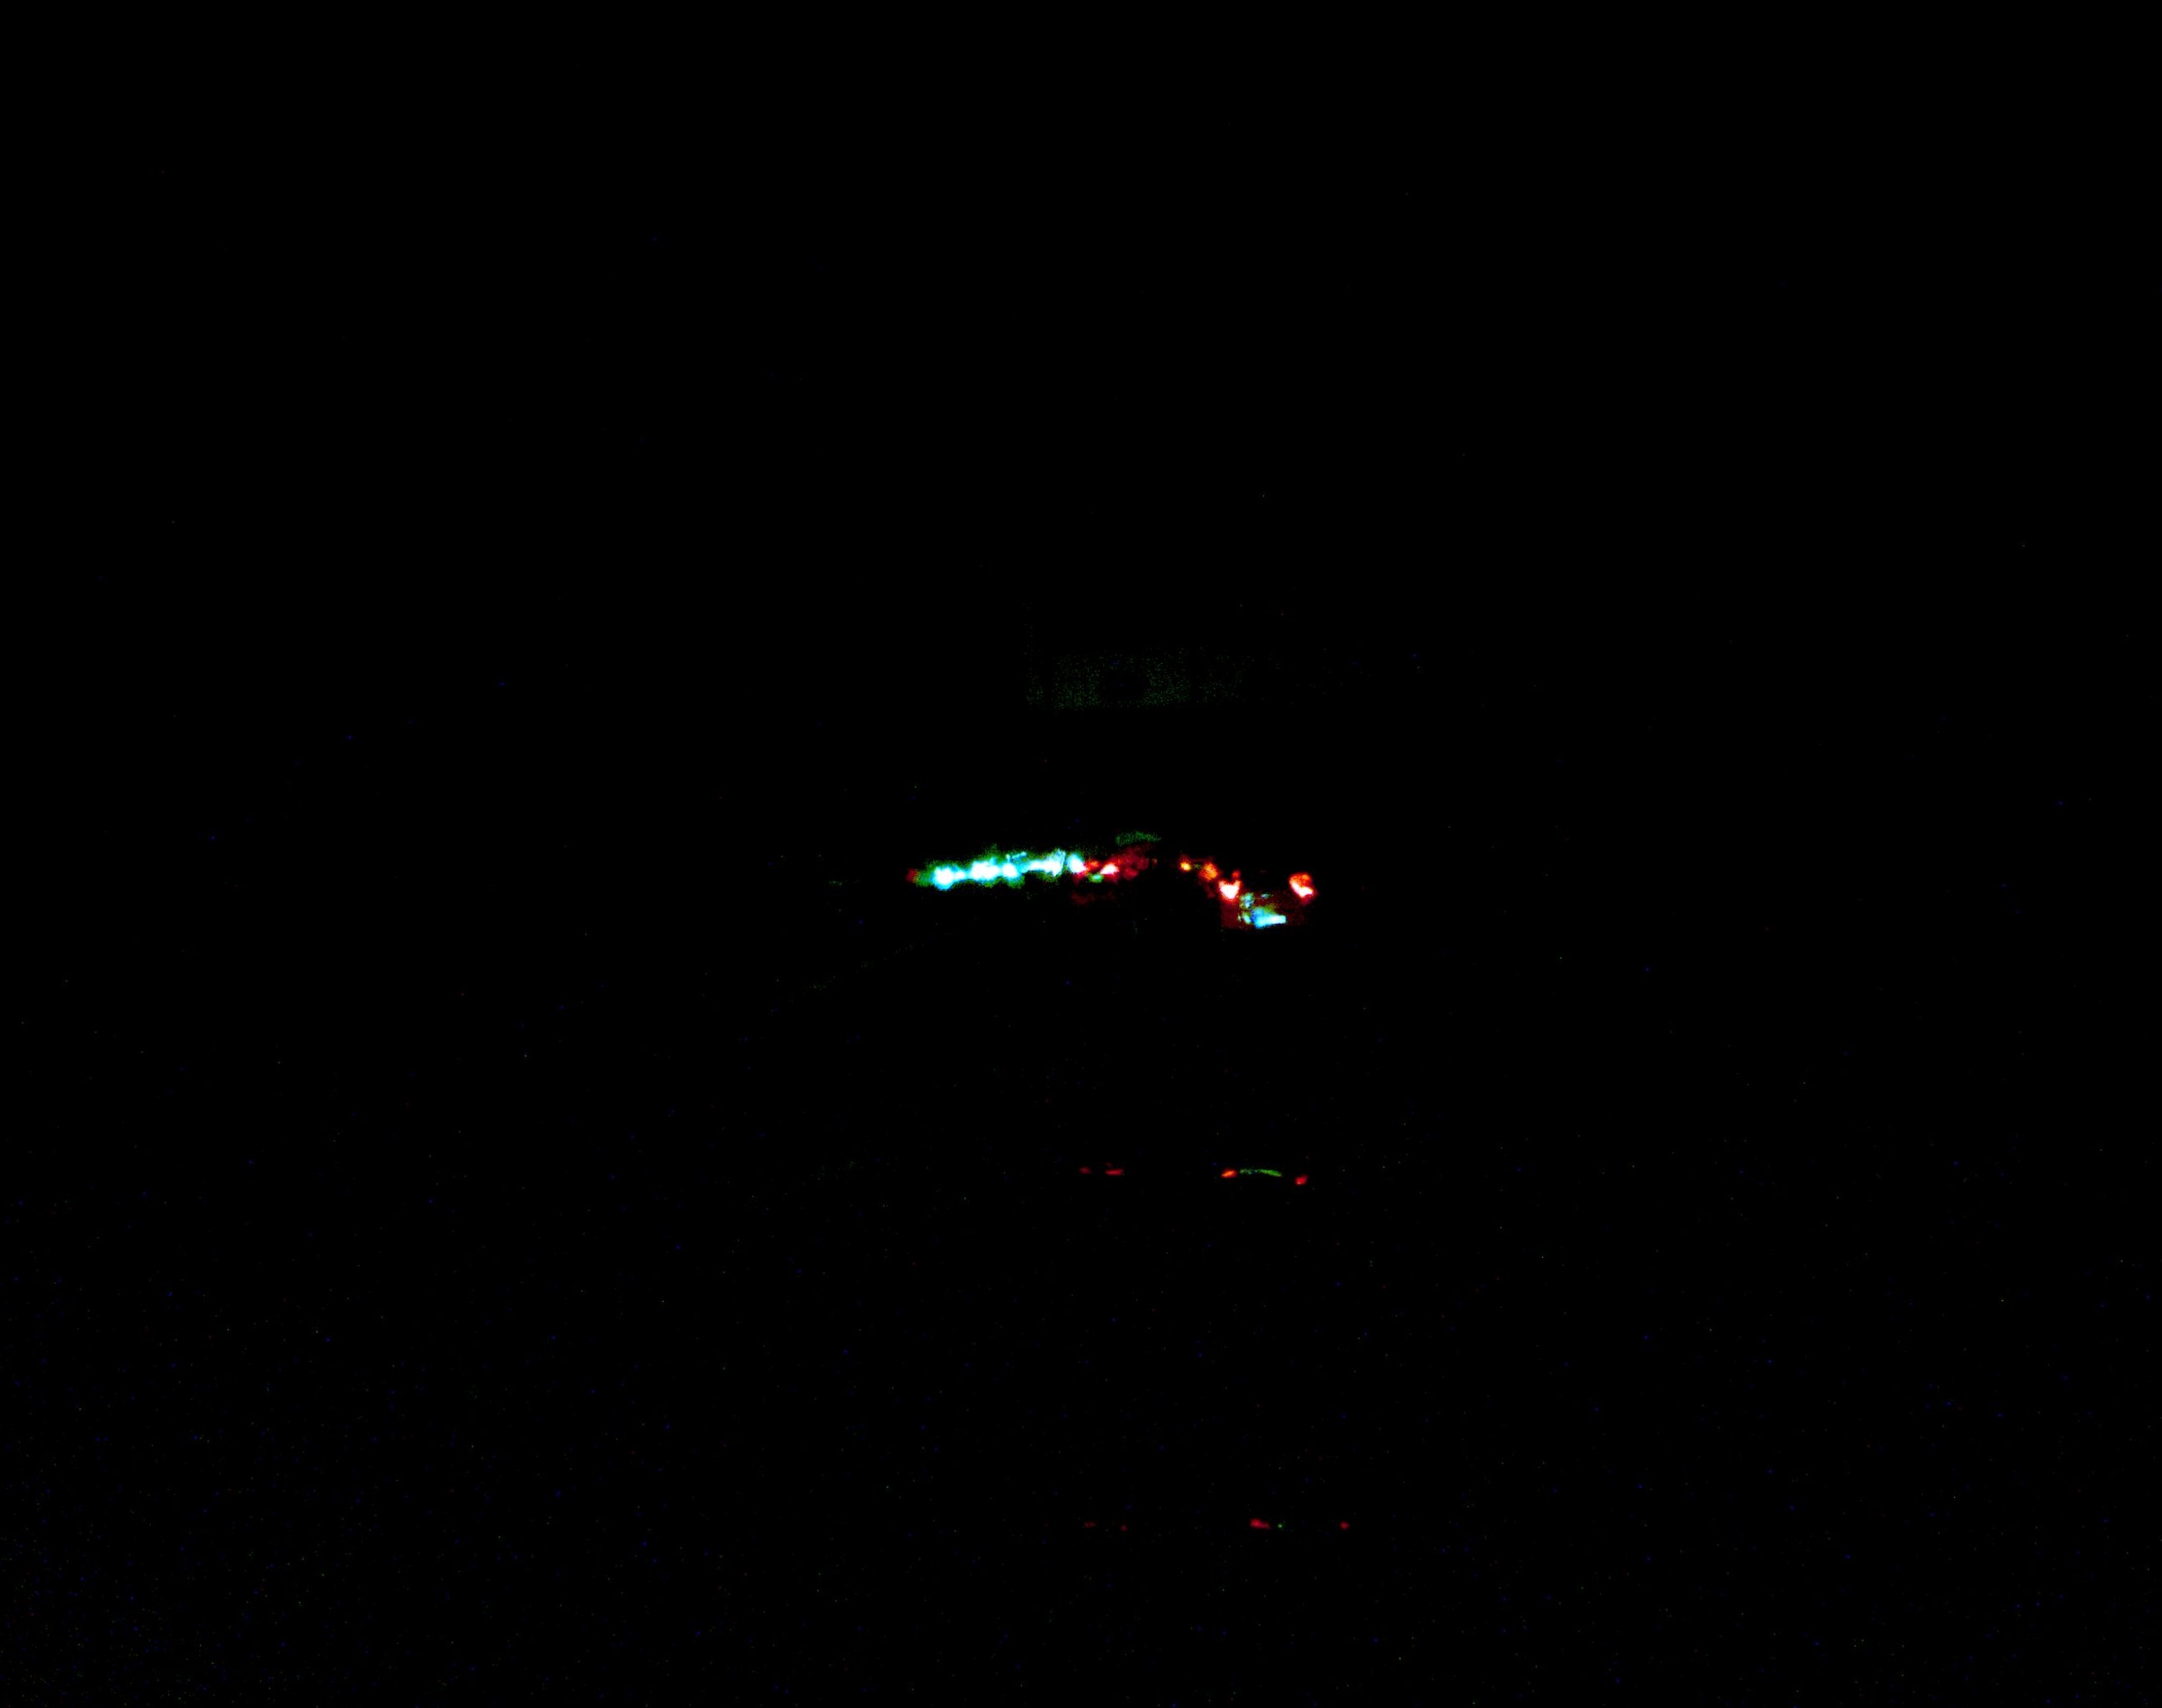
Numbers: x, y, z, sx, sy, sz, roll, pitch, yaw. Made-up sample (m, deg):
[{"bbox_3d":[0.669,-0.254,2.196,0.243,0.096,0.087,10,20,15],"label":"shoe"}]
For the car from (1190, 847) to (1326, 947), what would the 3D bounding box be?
[{"bbox_3d":[3.147,0.744,15.332,1.734,1.575,4.496,-1,-1,2],"label":"car"}]

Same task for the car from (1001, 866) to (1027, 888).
[{"bbox_3d":[-6.624,2.279,80.980,1.986,2.013,4.298,0,1,2],"label":"car"}]

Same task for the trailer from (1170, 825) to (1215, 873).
[{"bbox_3d":[10.751,-0.301,79.758,2.891,4.109,14.496,-3,-1,3],"label":"trailer"}]

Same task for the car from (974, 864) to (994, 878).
[{"bbox_3d":[-12.799,2.271,107.538,1.987,1.774,4.959,-2,-1,1],"label":"car"}]

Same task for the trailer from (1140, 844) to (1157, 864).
[{"bbox_3d":[16.147,0.058,195.436,3.030,4.109,13.830,-3,-2,1],"label":"trailer"}]

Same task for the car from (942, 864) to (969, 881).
[{"bbox_3d":[-13.478,1.966,87.979,1.987,1.774,4.959,-2,-1,1],"label":"car"}]

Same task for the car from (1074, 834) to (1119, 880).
[{"bbox_3d":[0.752,0.102,37.979,1.986,2.013,4.002,0,1,1],"label":"car"}]
